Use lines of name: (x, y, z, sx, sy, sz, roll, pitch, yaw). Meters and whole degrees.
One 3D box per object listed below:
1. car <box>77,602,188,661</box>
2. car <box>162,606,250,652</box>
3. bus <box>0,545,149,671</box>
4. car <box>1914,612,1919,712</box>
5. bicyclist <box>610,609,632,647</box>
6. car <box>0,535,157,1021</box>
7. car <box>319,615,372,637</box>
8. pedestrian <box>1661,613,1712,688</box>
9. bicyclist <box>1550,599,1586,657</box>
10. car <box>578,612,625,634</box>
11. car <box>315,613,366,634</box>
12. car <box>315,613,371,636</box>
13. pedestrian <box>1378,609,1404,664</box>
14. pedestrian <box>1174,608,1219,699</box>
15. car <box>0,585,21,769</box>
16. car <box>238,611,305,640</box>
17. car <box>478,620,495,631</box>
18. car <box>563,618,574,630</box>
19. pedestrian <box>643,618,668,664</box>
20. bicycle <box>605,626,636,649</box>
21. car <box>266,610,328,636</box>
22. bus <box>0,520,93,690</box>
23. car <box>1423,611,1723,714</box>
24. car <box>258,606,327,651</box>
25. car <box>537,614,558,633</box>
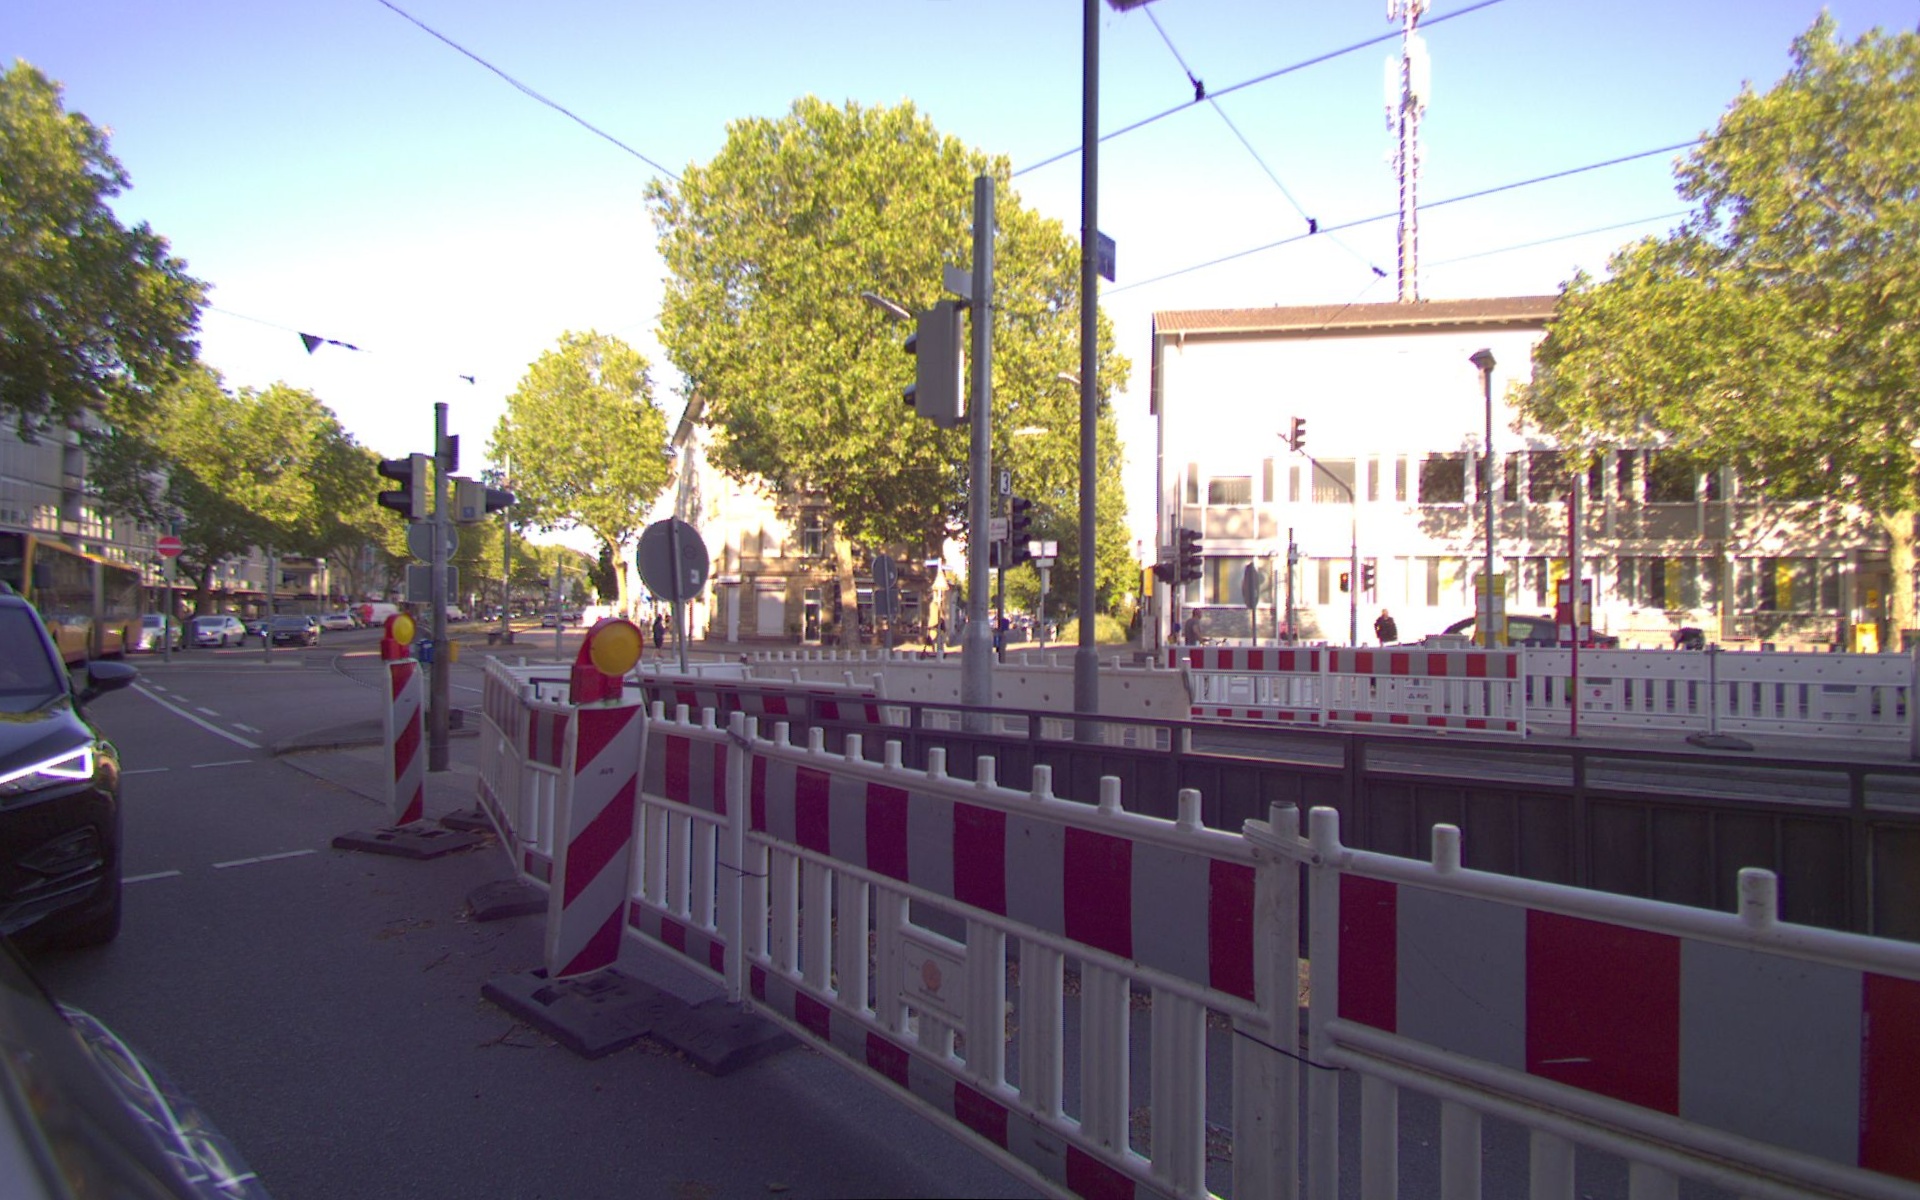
car: (-30.542, 1.147, 37.511, 1.965, 2.029, 4.111, 1, -1, -21)
car: (-34.655, 1.338, 46.636, 1.966, 2.029, 4.012, 1, -1, -17)
bus: (-25.721, 0.274, 28.961, 2.676, 3.130, 8.622, 1, -2, -31)
car: (17.311, 1.006, 15.299, 3.994, 1.674, 1.974, -1, -2, 38)
bicyclist: (-18.347, 1.512, 54.751, 0.842, 2.029, 0.985, 1, -2, -40)
car: (-5.215, 0.643, 4.543, 3.998, 1.719, 1.818, -1, -2, 41)
car: (-57.488, 2.427, 94.658, 3.938, 2.029, 2.002, 1, -2, -42)
pedestrian: (18.304, 1.262, 25.521, 0.923, 1.847, 0.693, -1, -2, 28)
bicyclist: (18.592, 0.848, 30.949, 0.757, 1.741, 0.671, 0, -2, 13)
car: (-34.266, 2.194, 96.759, 1.990, 2.029, 3.963, 0, -2, 27)
car: (-60.085, 2.265, 98.200, 3.938, 2.029, 2.002, 1, -2, -42)
car: (-54.903, 2.182, 90.037, 3.938, 2.029, 2.002, 1, -2, -42)
pedestrian: (12.441, 1.048, 29.217, 0.649, 1.564, 0.563, -1, -2, 28)
pedestrian: (4.661, 1.037, 19.975, 0.545, 1.760, 0.693, 1, -2, -24)
car: (-10.740, 0.696, 9.811, 4.073, 1.656, 1.973, -1, -2, 41)
car: (-50.617, 1.881, 74.465, 3.932, 2.029, 2.006, 1, -2, -32)
car: (-70.768, 3.829, 151.295, 1.809, 1.715, 4.143, 1, -2, -19)
car: (-62.463, 3.879, 161.427, 1.661, 1.866, 4.013, 1, -1, -20)
pedestrian: (-10.416, 1.399, 34.610, 0.594, 1.545, 0.746, 1, -2, -38)
bicycle: (-18.380, 1.999, 54.763, 0.838, 1.202, 2.471, 1, -2, -38)
car: (-53.909, 1.861, 82.365, 3.938, 2.029, 2.002, 1, -2, -42)
bus: (-20.806, 0.152, 21.672, 2.678, 3.130, 8.641, 1, -2, -36)
car: (11.222, 1.058, 18.697, 4.552, 1.674, 1.974, -1, -2, 38)
car: (-31.437, 1.352, 47.775, 1.965, 2.029, 4.013, 1, -1, -22)
car: (-43.578, 2.464, 106.961, 1.965, 2.029, 4.013, 1, -1, -20)
